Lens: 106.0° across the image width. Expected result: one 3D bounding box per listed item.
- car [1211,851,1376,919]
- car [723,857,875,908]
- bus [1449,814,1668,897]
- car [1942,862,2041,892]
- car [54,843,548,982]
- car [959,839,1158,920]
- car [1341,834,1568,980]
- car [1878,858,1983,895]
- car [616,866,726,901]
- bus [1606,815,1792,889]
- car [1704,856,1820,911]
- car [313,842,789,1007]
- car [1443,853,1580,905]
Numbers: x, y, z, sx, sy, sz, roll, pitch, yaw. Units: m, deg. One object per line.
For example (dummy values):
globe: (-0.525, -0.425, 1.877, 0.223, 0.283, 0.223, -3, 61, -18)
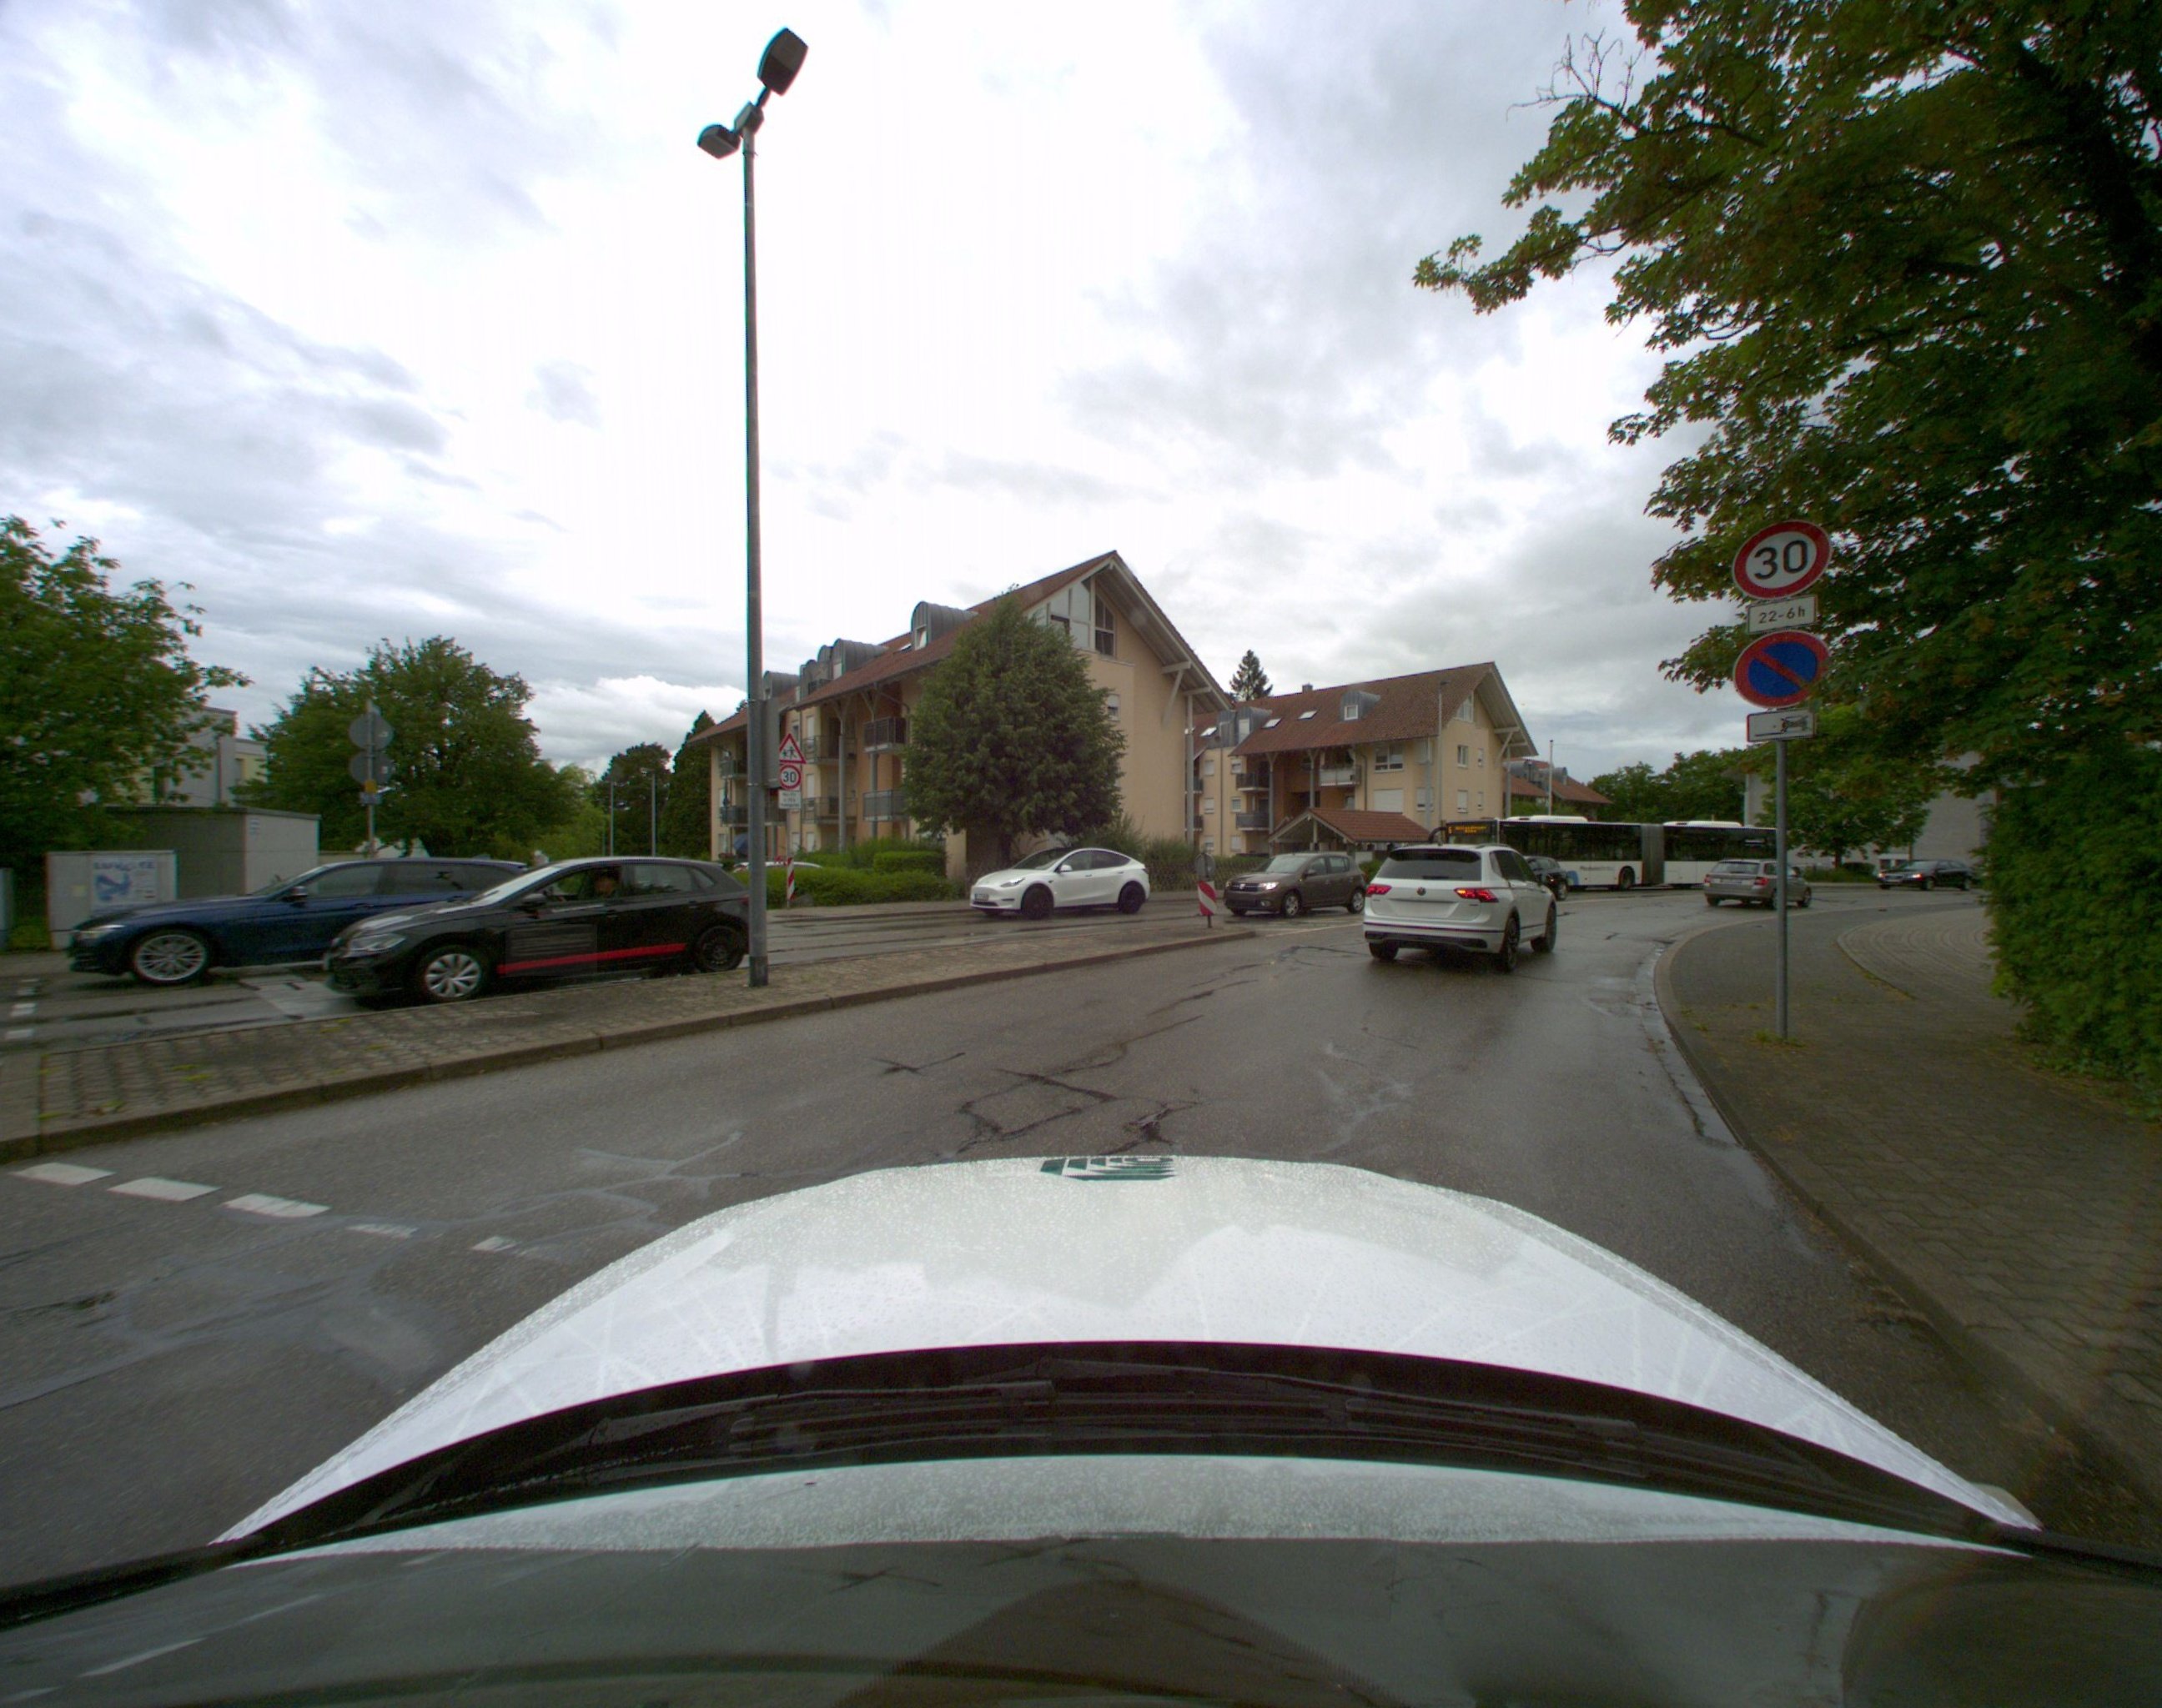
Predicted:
car: (5.198, 0.701, 19.739, 3.954, 1.487, 1.809, 1, -1, -36)
car: (-8.859, 0.845, 25.734, 4.220, 1.439, 1.803, -1, -1, -35)
bus: (19.166, -0.008, 32.531, 9.213, 3.000, 2.535, -1, -1, -23)
car: (46.346, 1.141, 41.472, 3.680, 1.422, 1.588, -1, 0, -8)
car: (-9.768, 0.684, 10.644, 1.737, 1.435, 4.378, -3, -3, 42)
car: (-0.445, 0.496, 19.581, 4.625, 1.725, 1.931, -1, 1, -41)
car: (5.636, 0.615, 11.974, 1.903, 1.722, 4.291, 2, 1, 40)
car: (38.959, 1.039, 37.359, 4.296, 1.518, 1.852, -1, -2, -23)
car: (-27.578, 1.956, 54.902, 6.051, 2.201, 2.819, 2, -1, -40)
bus: (27.337, -0.125, 35.949, 8.411, 3.000, 2.575, -1, -1, -22)
car: (20.748, 0.891, 24.777, 4.017, 1.510, 1.752, 2, 0, -36)
car: (-5.776, 0.602, 9.309, 1.799, 1.408, 4.229, -1, 1, 42)
car: (13.637, 0.736, 25.750, 4.187, 1.519, 1.938, 0, -1, -31)
